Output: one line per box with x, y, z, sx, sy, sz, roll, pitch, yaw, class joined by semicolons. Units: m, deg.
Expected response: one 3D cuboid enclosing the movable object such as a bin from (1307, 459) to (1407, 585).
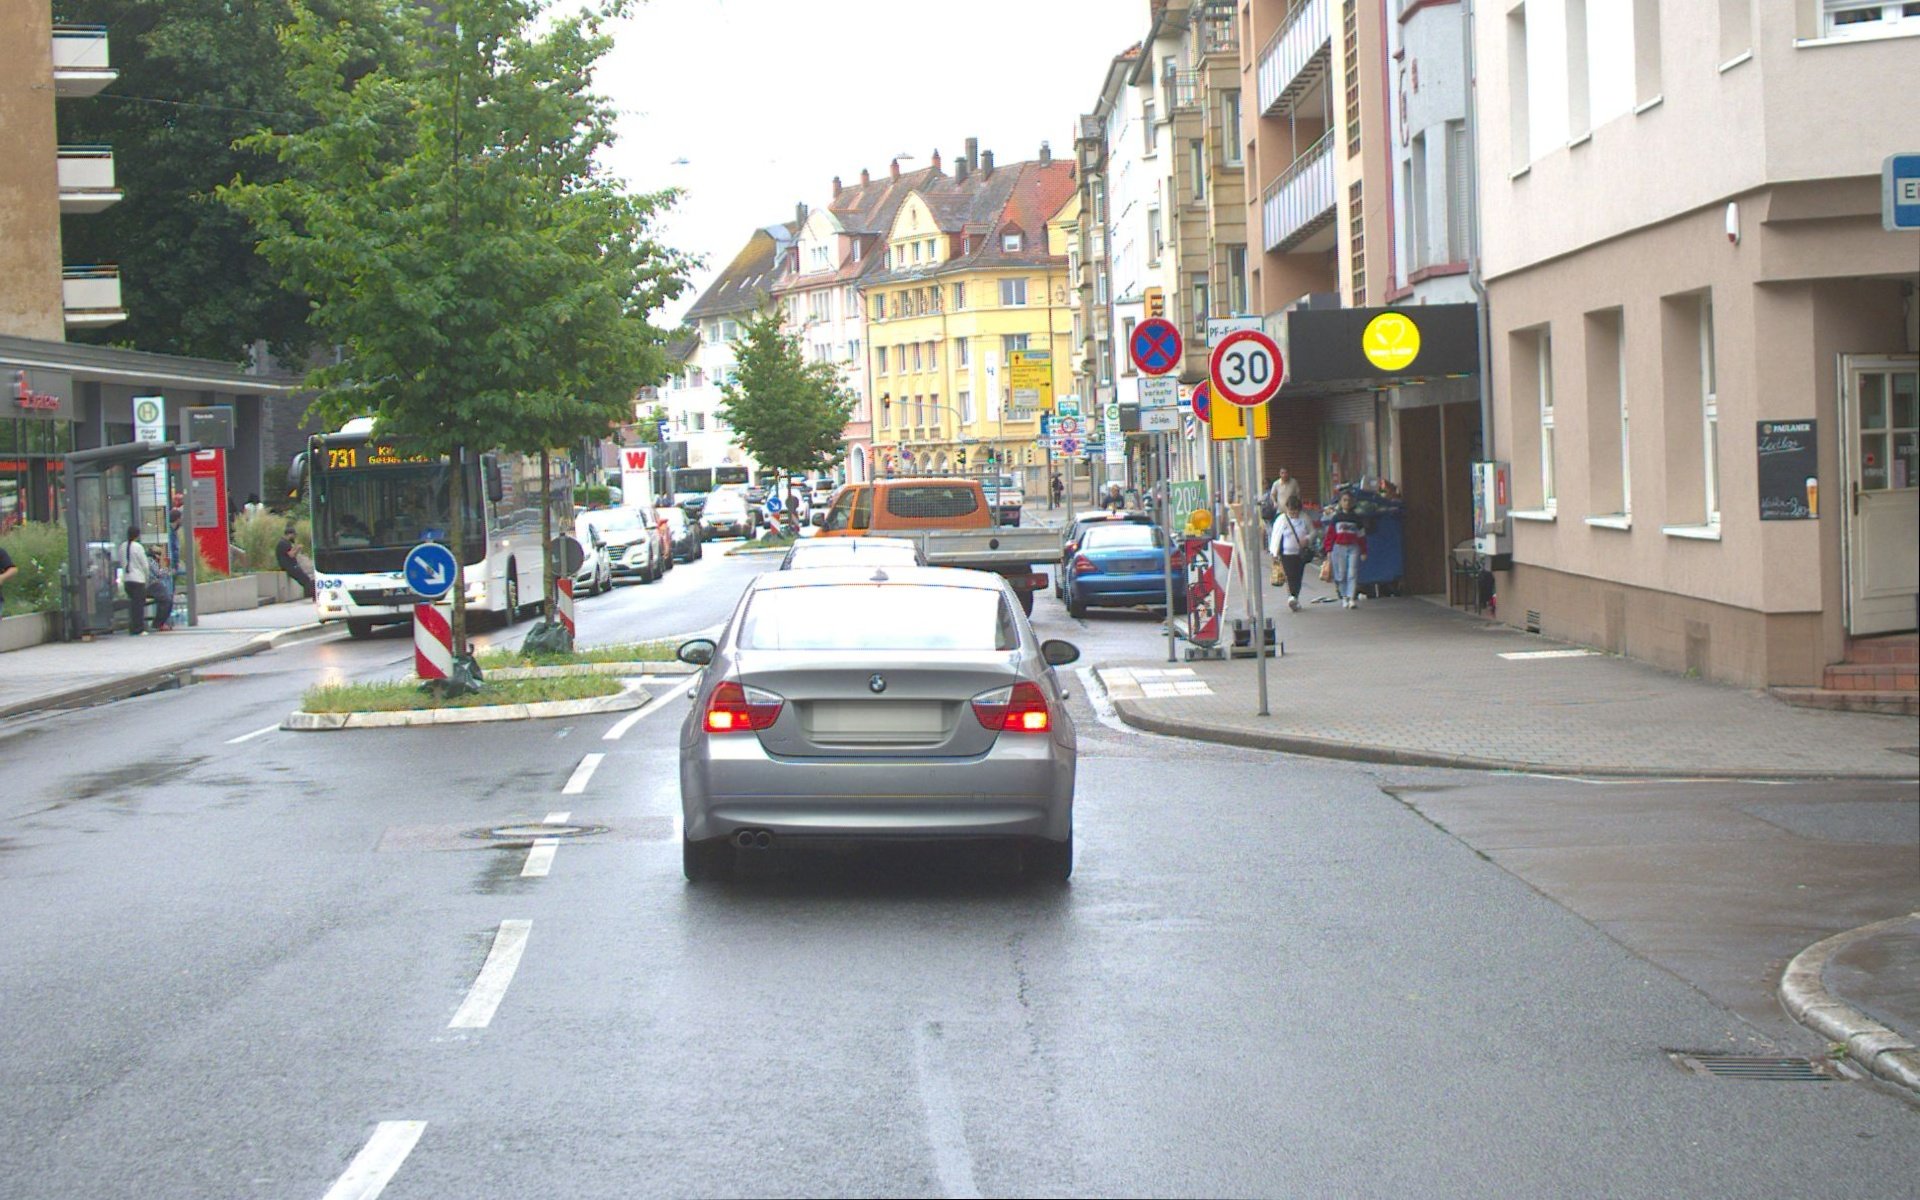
5.576;-1.088;48.378;1.122;1.697;1.434;-2;0;-2;movable object such as a bin

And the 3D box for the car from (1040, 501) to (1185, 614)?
2.160;-0.582;49.562;1.809;1.514;4.000;1;0;-1;car

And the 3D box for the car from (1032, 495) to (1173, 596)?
2.238;-0.840;55.085;1.993;1.514;4.000;1;0;-1;car

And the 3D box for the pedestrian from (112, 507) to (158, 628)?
-11.698;-0.458;48.769;0.543;1.703;0.466;1;0;-6;pedestrian

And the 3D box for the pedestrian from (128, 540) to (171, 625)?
-11.923;-0.254;50.600;0.465;1.226;0.544;1;0;1;pedestrian

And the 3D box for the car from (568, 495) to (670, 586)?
-7.937;-1.365;80.347;1.993;2.007;4.000;1;0;-1;car

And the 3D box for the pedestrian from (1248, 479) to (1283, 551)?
6.134;-1.696;69.101;0.565;1.416;0.796;1;0;13;pedestrian

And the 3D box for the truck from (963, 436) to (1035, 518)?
1.283;-4.090;115.383;2.216;2.535;4.780;1;0;-1;truck

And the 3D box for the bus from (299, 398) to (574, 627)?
-8.099;-1.230;54.752;2.681;3.190;11.956;1;0;-1;bus

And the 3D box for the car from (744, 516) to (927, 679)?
-1.173;-0.025;32.227;1.601;1.415;3.288;1;0;-2;car

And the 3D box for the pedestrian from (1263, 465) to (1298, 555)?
6.007;-1.678;64.457;0.615;1.655;0.754;1;0;6;pedestrian

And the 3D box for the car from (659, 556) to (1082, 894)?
-0.374;0.500;15.870;1.756;1.358;3.165;0;2;0;car

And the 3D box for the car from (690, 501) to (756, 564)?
-7.991;-2.271;116.092;1.993;2.007;4.000;1;0;-1;car

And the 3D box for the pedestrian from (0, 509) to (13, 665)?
-11.243;-0.155;39.629;0.542;1.784;0.466;1;0;-9;pedestrian

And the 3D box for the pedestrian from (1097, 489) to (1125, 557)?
3.175;-1.619;72.281;0.522;1.416;0.430;1;0;9;pedestrian

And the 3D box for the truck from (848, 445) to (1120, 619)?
0.250;-0.899;45.917;2.215;2.109;4.654;2;0;-18;truck

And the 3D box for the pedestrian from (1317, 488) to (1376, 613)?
5.175;-0.658;46.056;0.750;1.655;0.754;1;0;6;pedestrian

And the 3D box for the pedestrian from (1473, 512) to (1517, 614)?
6.479;-0.445;41.640;0.412;1.199;0.357;-4;2;3;pedestrian

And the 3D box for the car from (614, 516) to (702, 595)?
-7.942;-1.151;90.672;1.993;2.007;4.000;1;0;-1;car

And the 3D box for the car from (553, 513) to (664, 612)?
-7.430;-0.769;72.932;1.993;2.007;4.000;-1;0;-1;car

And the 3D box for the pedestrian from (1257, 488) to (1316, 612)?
4.418;-0.670;46.546;0.749;1.655;0.836;1;0;6;pedestrian

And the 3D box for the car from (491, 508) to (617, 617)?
-7.801;-0.700;66.374;1.993;2.007;4.000;1;0;-1;car

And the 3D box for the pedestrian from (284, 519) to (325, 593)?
-12.329;-0.832;64.674;0.619;1.373;0.544;1;0;1;pedestrian
